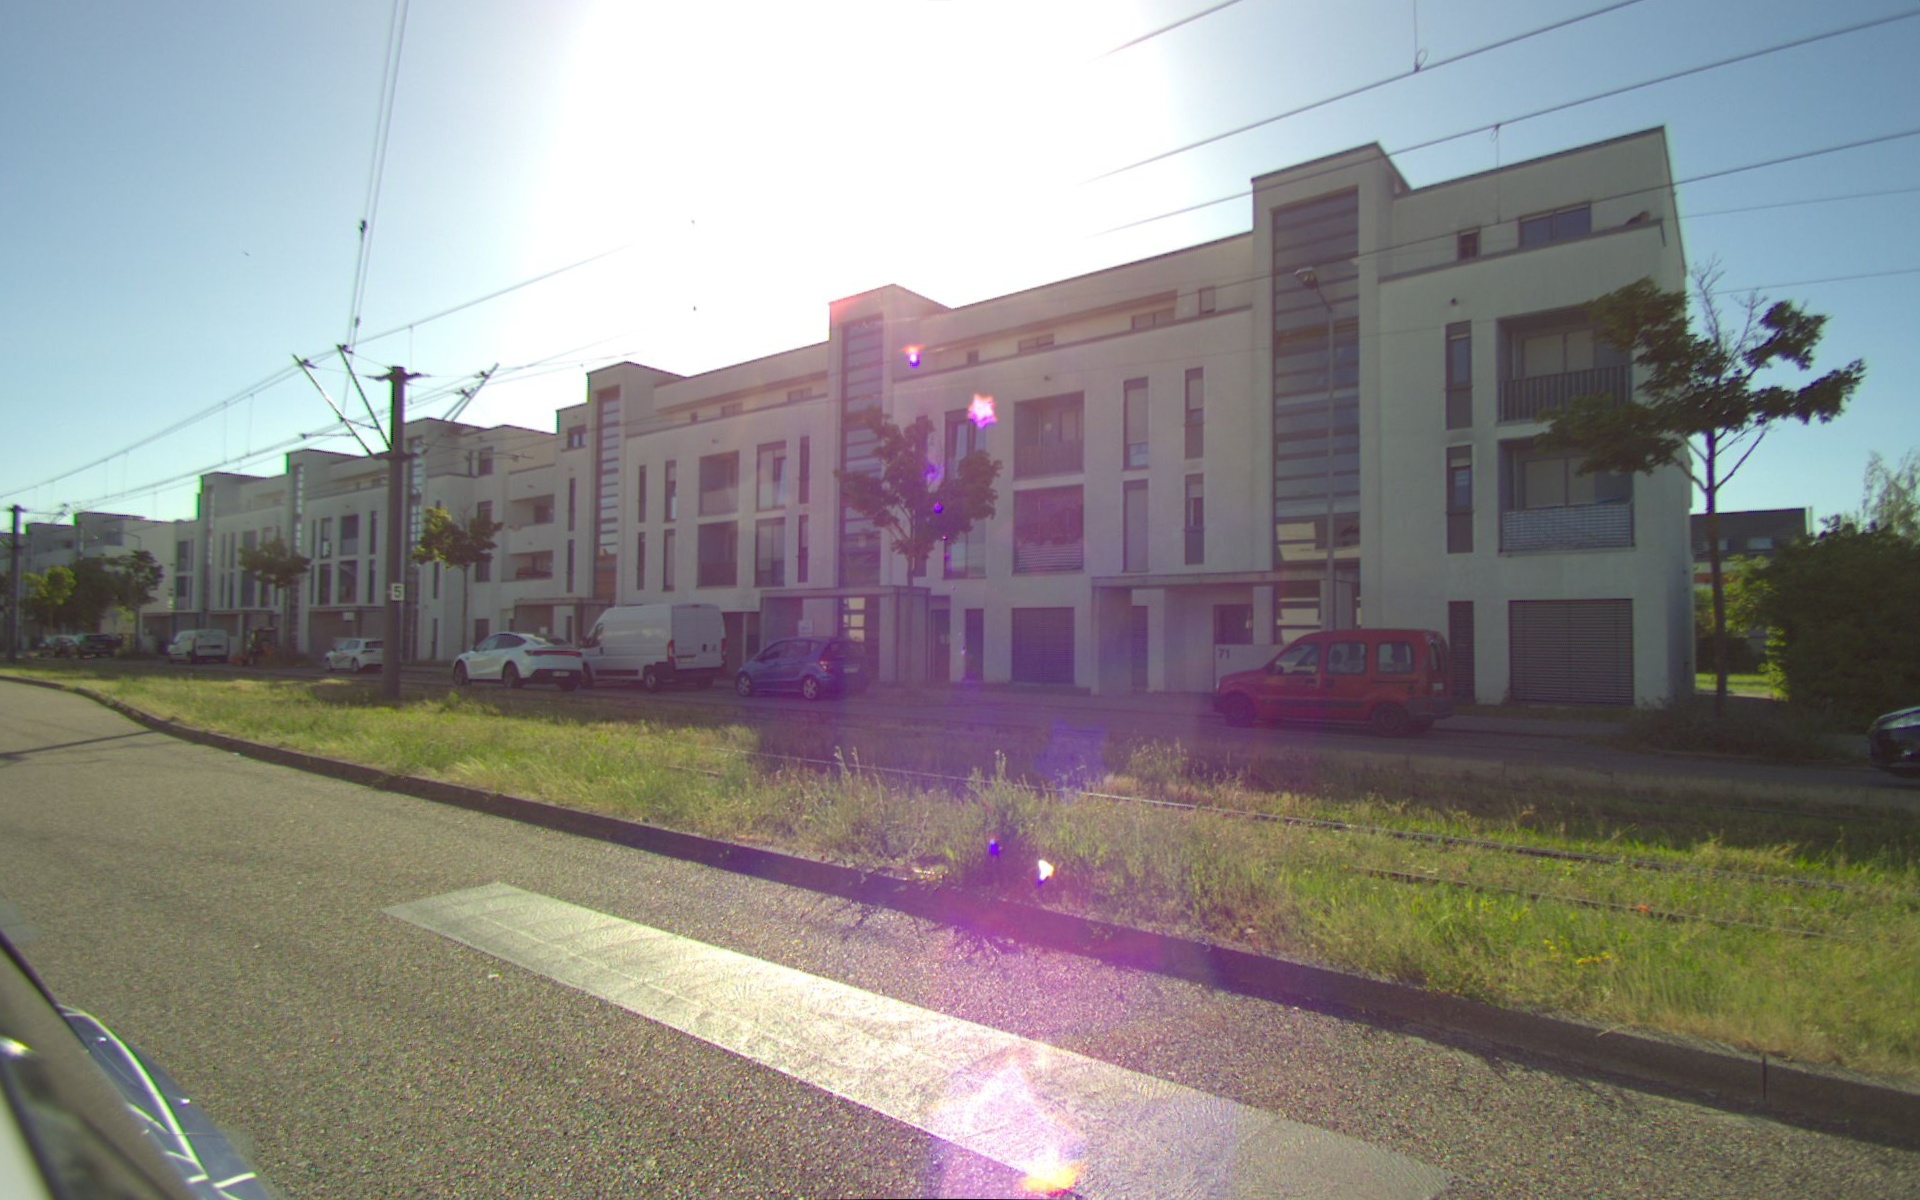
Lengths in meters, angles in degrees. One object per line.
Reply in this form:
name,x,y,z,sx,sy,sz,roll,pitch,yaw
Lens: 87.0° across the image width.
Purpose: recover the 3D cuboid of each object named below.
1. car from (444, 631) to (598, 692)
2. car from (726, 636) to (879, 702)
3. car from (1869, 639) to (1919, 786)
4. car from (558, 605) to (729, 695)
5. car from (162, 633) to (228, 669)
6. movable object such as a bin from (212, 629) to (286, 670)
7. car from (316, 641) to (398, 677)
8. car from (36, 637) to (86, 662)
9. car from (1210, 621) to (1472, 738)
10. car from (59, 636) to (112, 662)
car,-12.524,1.754,28.772,4.640,1.608,1.974,-2,-6,38
car,-4.090,1.723,25.958,3.839,1.548,1.806,-2,-2,40
car,11.243,1.108,9.455,3.998,1.430,1.769,-2,-5,41
car,-9.579,1.462,30.370,5.582,2.463,2.119,-2,-2,38
car,-41.871,2.750,55.355,4.148,1.884,1.746,-2,-2,36
movable object such as a bin,-35.420,2.429,50.380,4.148,1.952,1.746,-2,-2,36
car,-25.628,2.488,42.966,4.148,1.443,1.503,-2,-2,36
car,-62.394,3.427,70.196,4.148,1.611,1.746,-2,-2,36
car,6.544,1.294,17.557,3.835,1.809,1.861,-2,-2,41
car,-57.824,3.227,66.901,4.148,1.611,1.746,-2,-2,36
